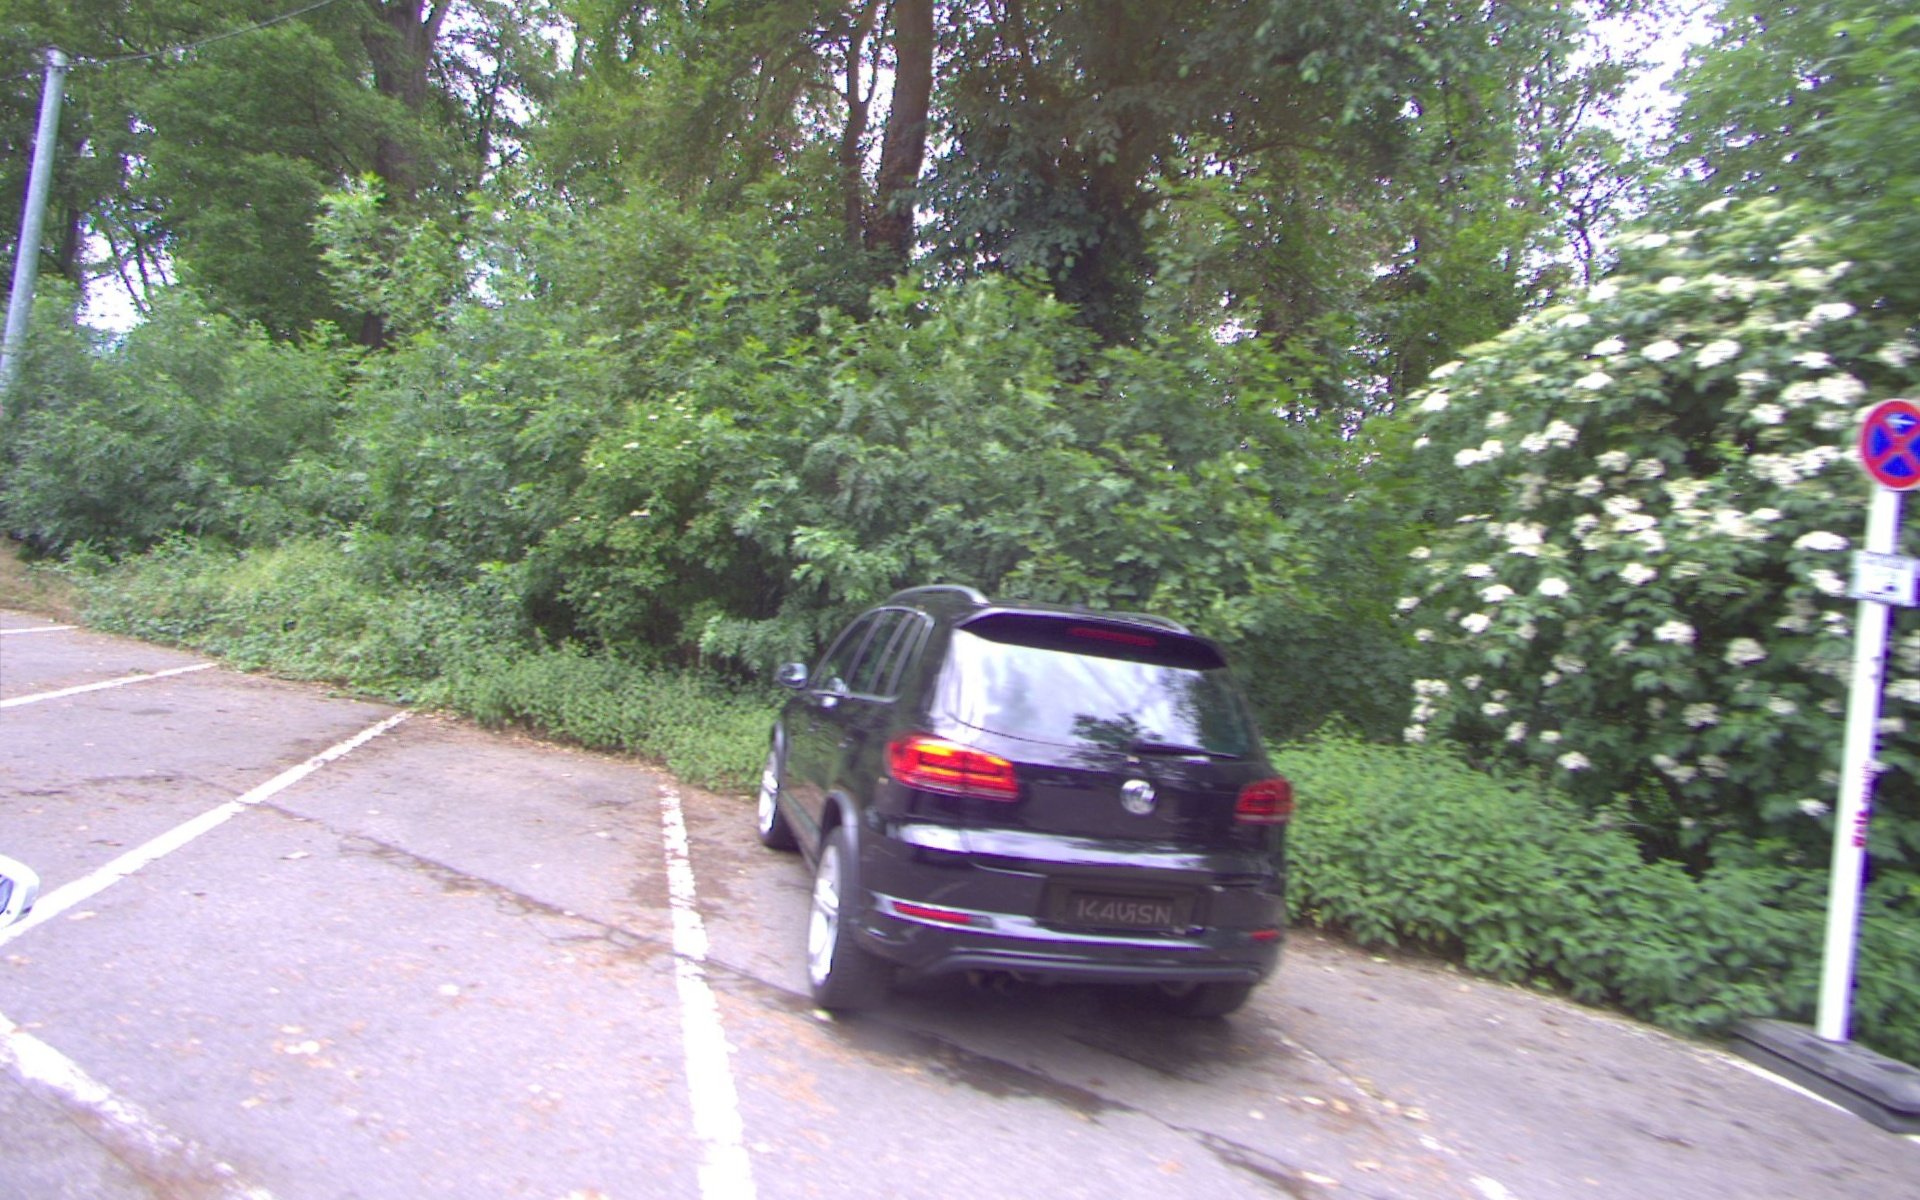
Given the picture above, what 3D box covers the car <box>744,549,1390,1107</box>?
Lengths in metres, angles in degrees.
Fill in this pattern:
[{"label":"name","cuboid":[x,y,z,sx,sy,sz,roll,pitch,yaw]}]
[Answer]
[{"label":"car","cuboid":[0.020,0.800,5.261,1.758,1.704,4.059,8,-2,-16]}]
